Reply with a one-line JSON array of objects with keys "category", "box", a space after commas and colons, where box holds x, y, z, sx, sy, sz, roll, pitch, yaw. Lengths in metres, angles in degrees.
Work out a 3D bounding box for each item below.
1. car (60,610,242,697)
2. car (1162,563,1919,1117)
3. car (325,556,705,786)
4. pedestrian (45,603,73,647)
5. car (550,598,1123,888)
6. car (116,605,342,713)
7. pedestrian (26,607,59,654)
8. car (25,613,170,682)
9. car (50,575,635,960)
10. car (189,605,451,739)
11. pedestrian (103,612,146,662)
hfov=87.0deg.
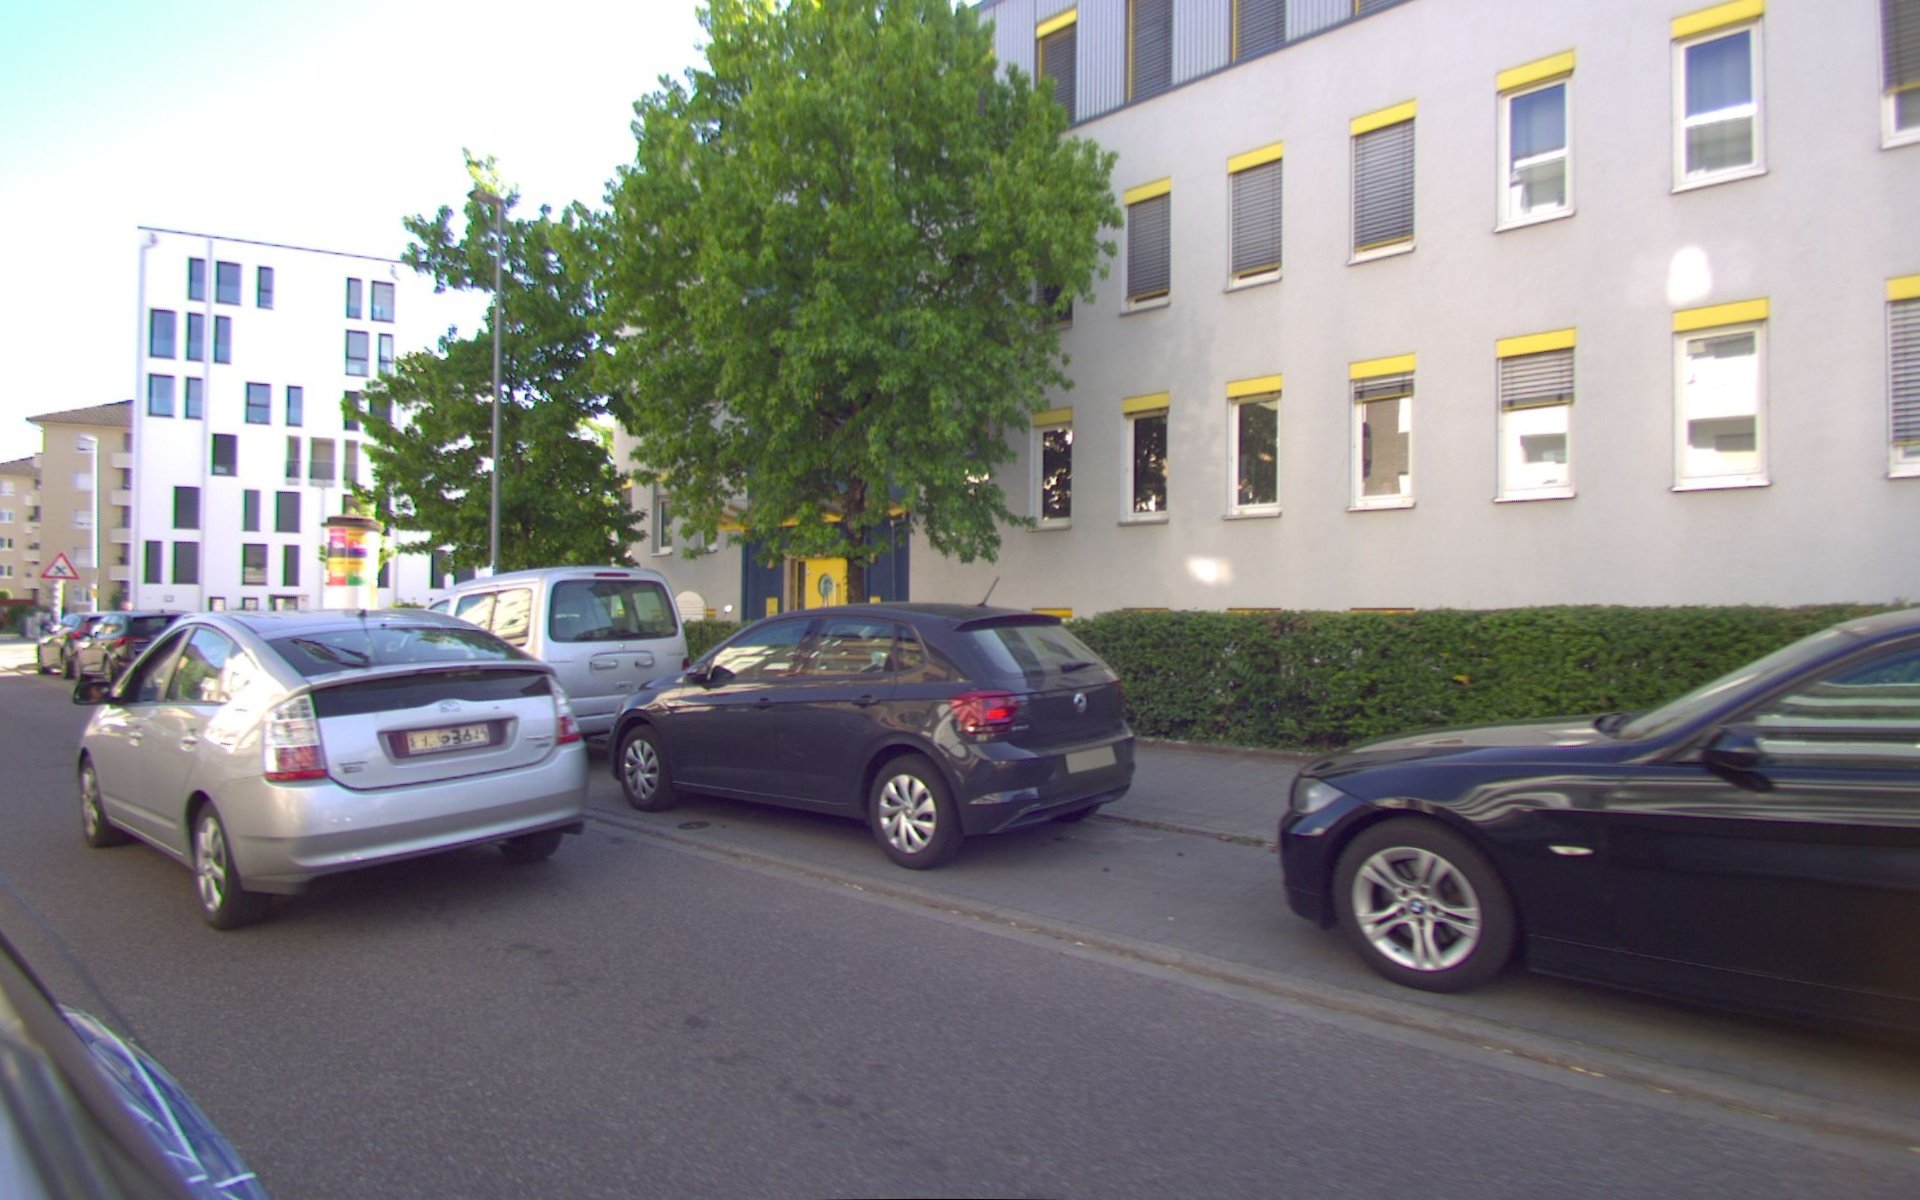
[{"category": "car", "box": [-15.966, 0.967, 19.901, 4.376, 1.490, 1.889, 0, -1, 39]}, {"category": "car", "box": [3.064, 0.651, 3.398, 4.438, 1.476, 1.707, -1, -2, 42]}, {"category": "car", "box": [-4.596, 0.614, 10.158, 4.335, 1.853, 1.671, -1, -2, 38]}, {"category": "pedestrian", "box": [-40.038, 1.094, 44.964, 0.778, 1.899, 0.849, 2, 0, -34]}, {"category": "car", "box": [-1.025, 0.744, 6.962, 3.995, 1.451, 1.582, -1, -1, 38]}, {"category": "car", "box": [-12.195, 0.874, 16.777, 4.620, 1.541, 1.889, 0, -1, 39]}, {"category": "pedestrian", "box": [-42.389, 1.402, 46.759, 0.951, 2.137, 0.771, -1, -1, 19]}, {"category": "car", "box": [-19.607, 1.020, 22.962, 4.219, 1.421, 1.771, -1, -1, 39]}, {"category": "car", "box": [-3.803, 0.695, 5.926, 4.102, 1.497, 1.708, -1, -2, 40]}, {"category": "car", "box": [-8.468, 0.824, 13.204, 4.610, 1.450, 1.714, -1, -2, 42]}, {"category": "pedestrian", "box": [-29.330, 1.287, 35.536, 0.962, 1.727, 0.876, 1, -2, -28]}]
